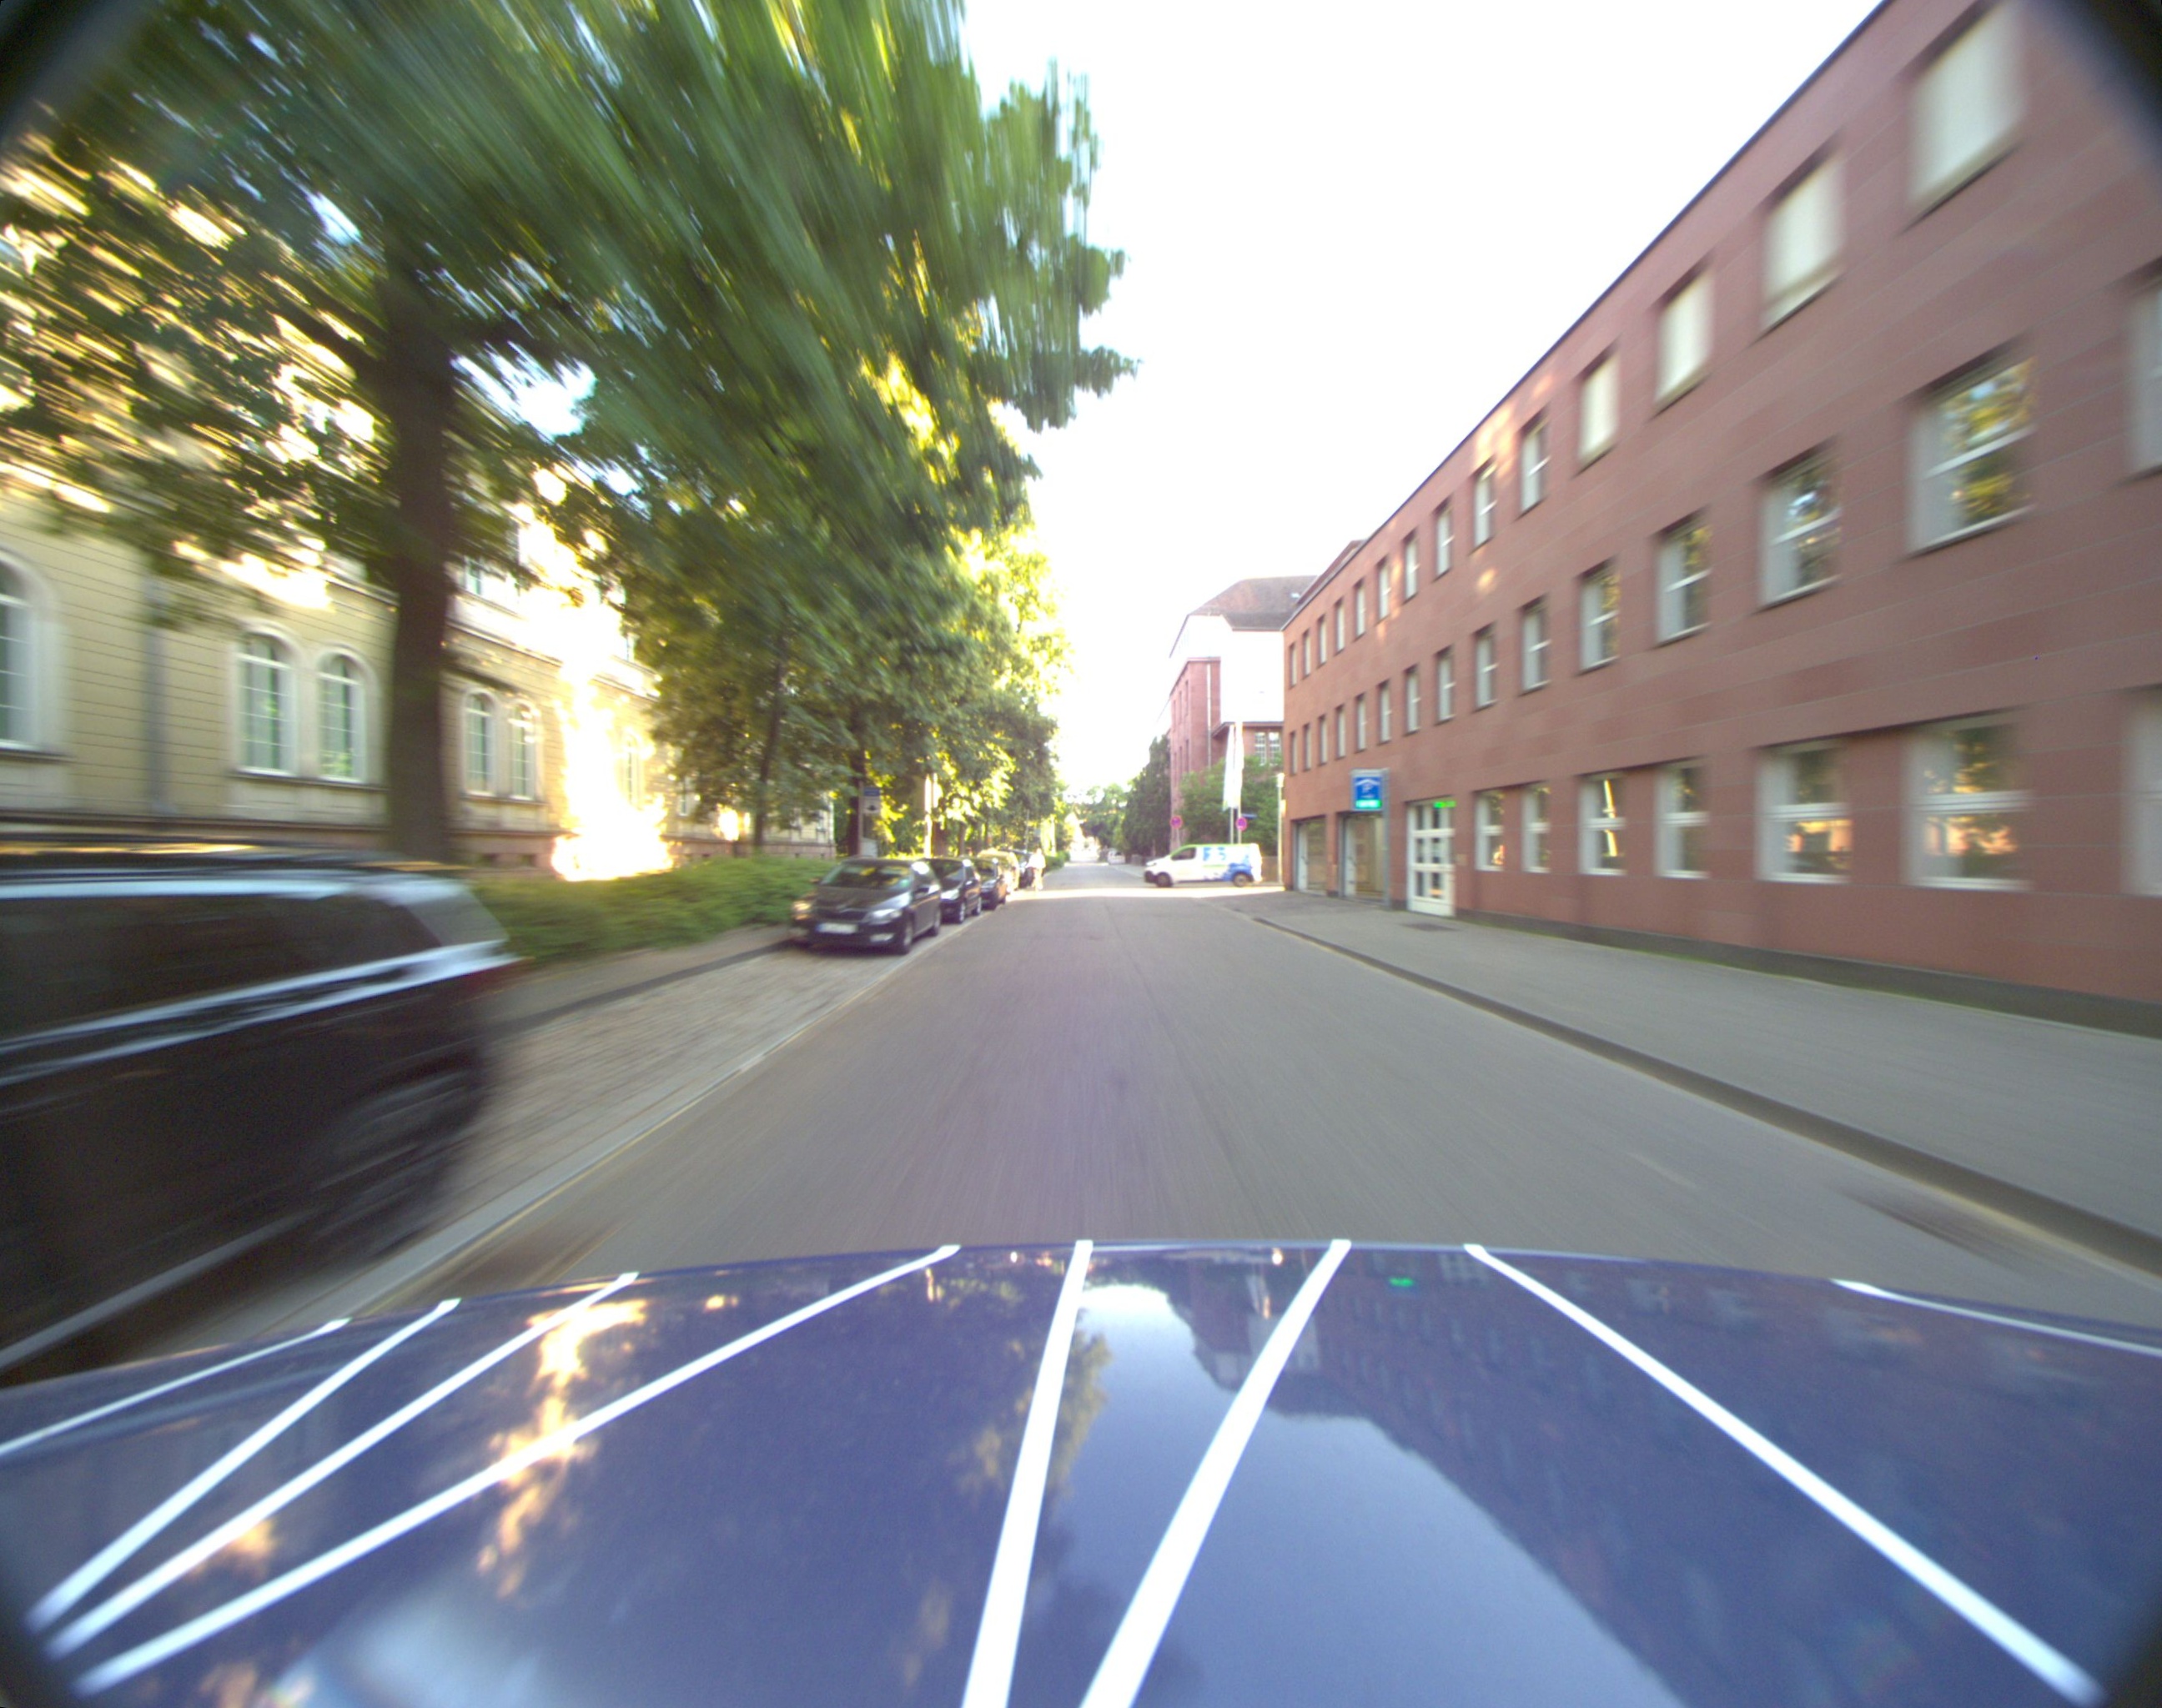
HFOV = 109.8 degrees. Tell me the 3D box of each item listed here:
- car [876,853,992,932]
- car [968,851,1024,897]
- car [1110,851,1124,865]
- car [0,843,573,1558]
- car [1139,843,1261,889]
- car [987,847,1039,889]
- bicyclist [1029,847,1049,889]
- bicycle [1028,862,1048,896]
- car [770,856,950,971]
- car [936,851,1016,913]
[{"bbox_3d":[-3.383,0.810,18.323,1.728,1.525,4.189,4,1,3],"label":"car"},{"bbox_3d":[-3.332,0.736,30.507,1.728,1.673,4.498,0,1,0],"label":"car"},{"bbox_3d":[5.368,0.540,112.626,1.886,2.040,4.324,0,1,0],"label":"car"},{"bbox_3d":[-3.478,0.833,1.568,1.811,1.641,4.418,4,0,0],"label":"car"},{"bbox_3d":[5.195,0.536,33.115,5.100,1.863,2.002,-1,-1,12],"label":"car"},{"bbox_3d":[-3.169,0.588,36.203,1.809,1.803,4.947,0,1,3],"label":"car"},{"bbox_3d":[-1.638,0.555,29.584,0.753,1.603,1.038,0,0,-2],"label":"bicyclist"},{"bbox_3d":[-1.662,0.943,29.567,0.753,1.245,2.209,0,0,-2],"label":"bicycle"},{"bbox_3d":[-3.452,0.838,12.807,1.739,1.498,4.521,0,1,0],"label":"car"},{"bbox_3d":[-3.129,0.776,23.476,1.728,1.525,4.622,4,1,0],"label":"car"}]
